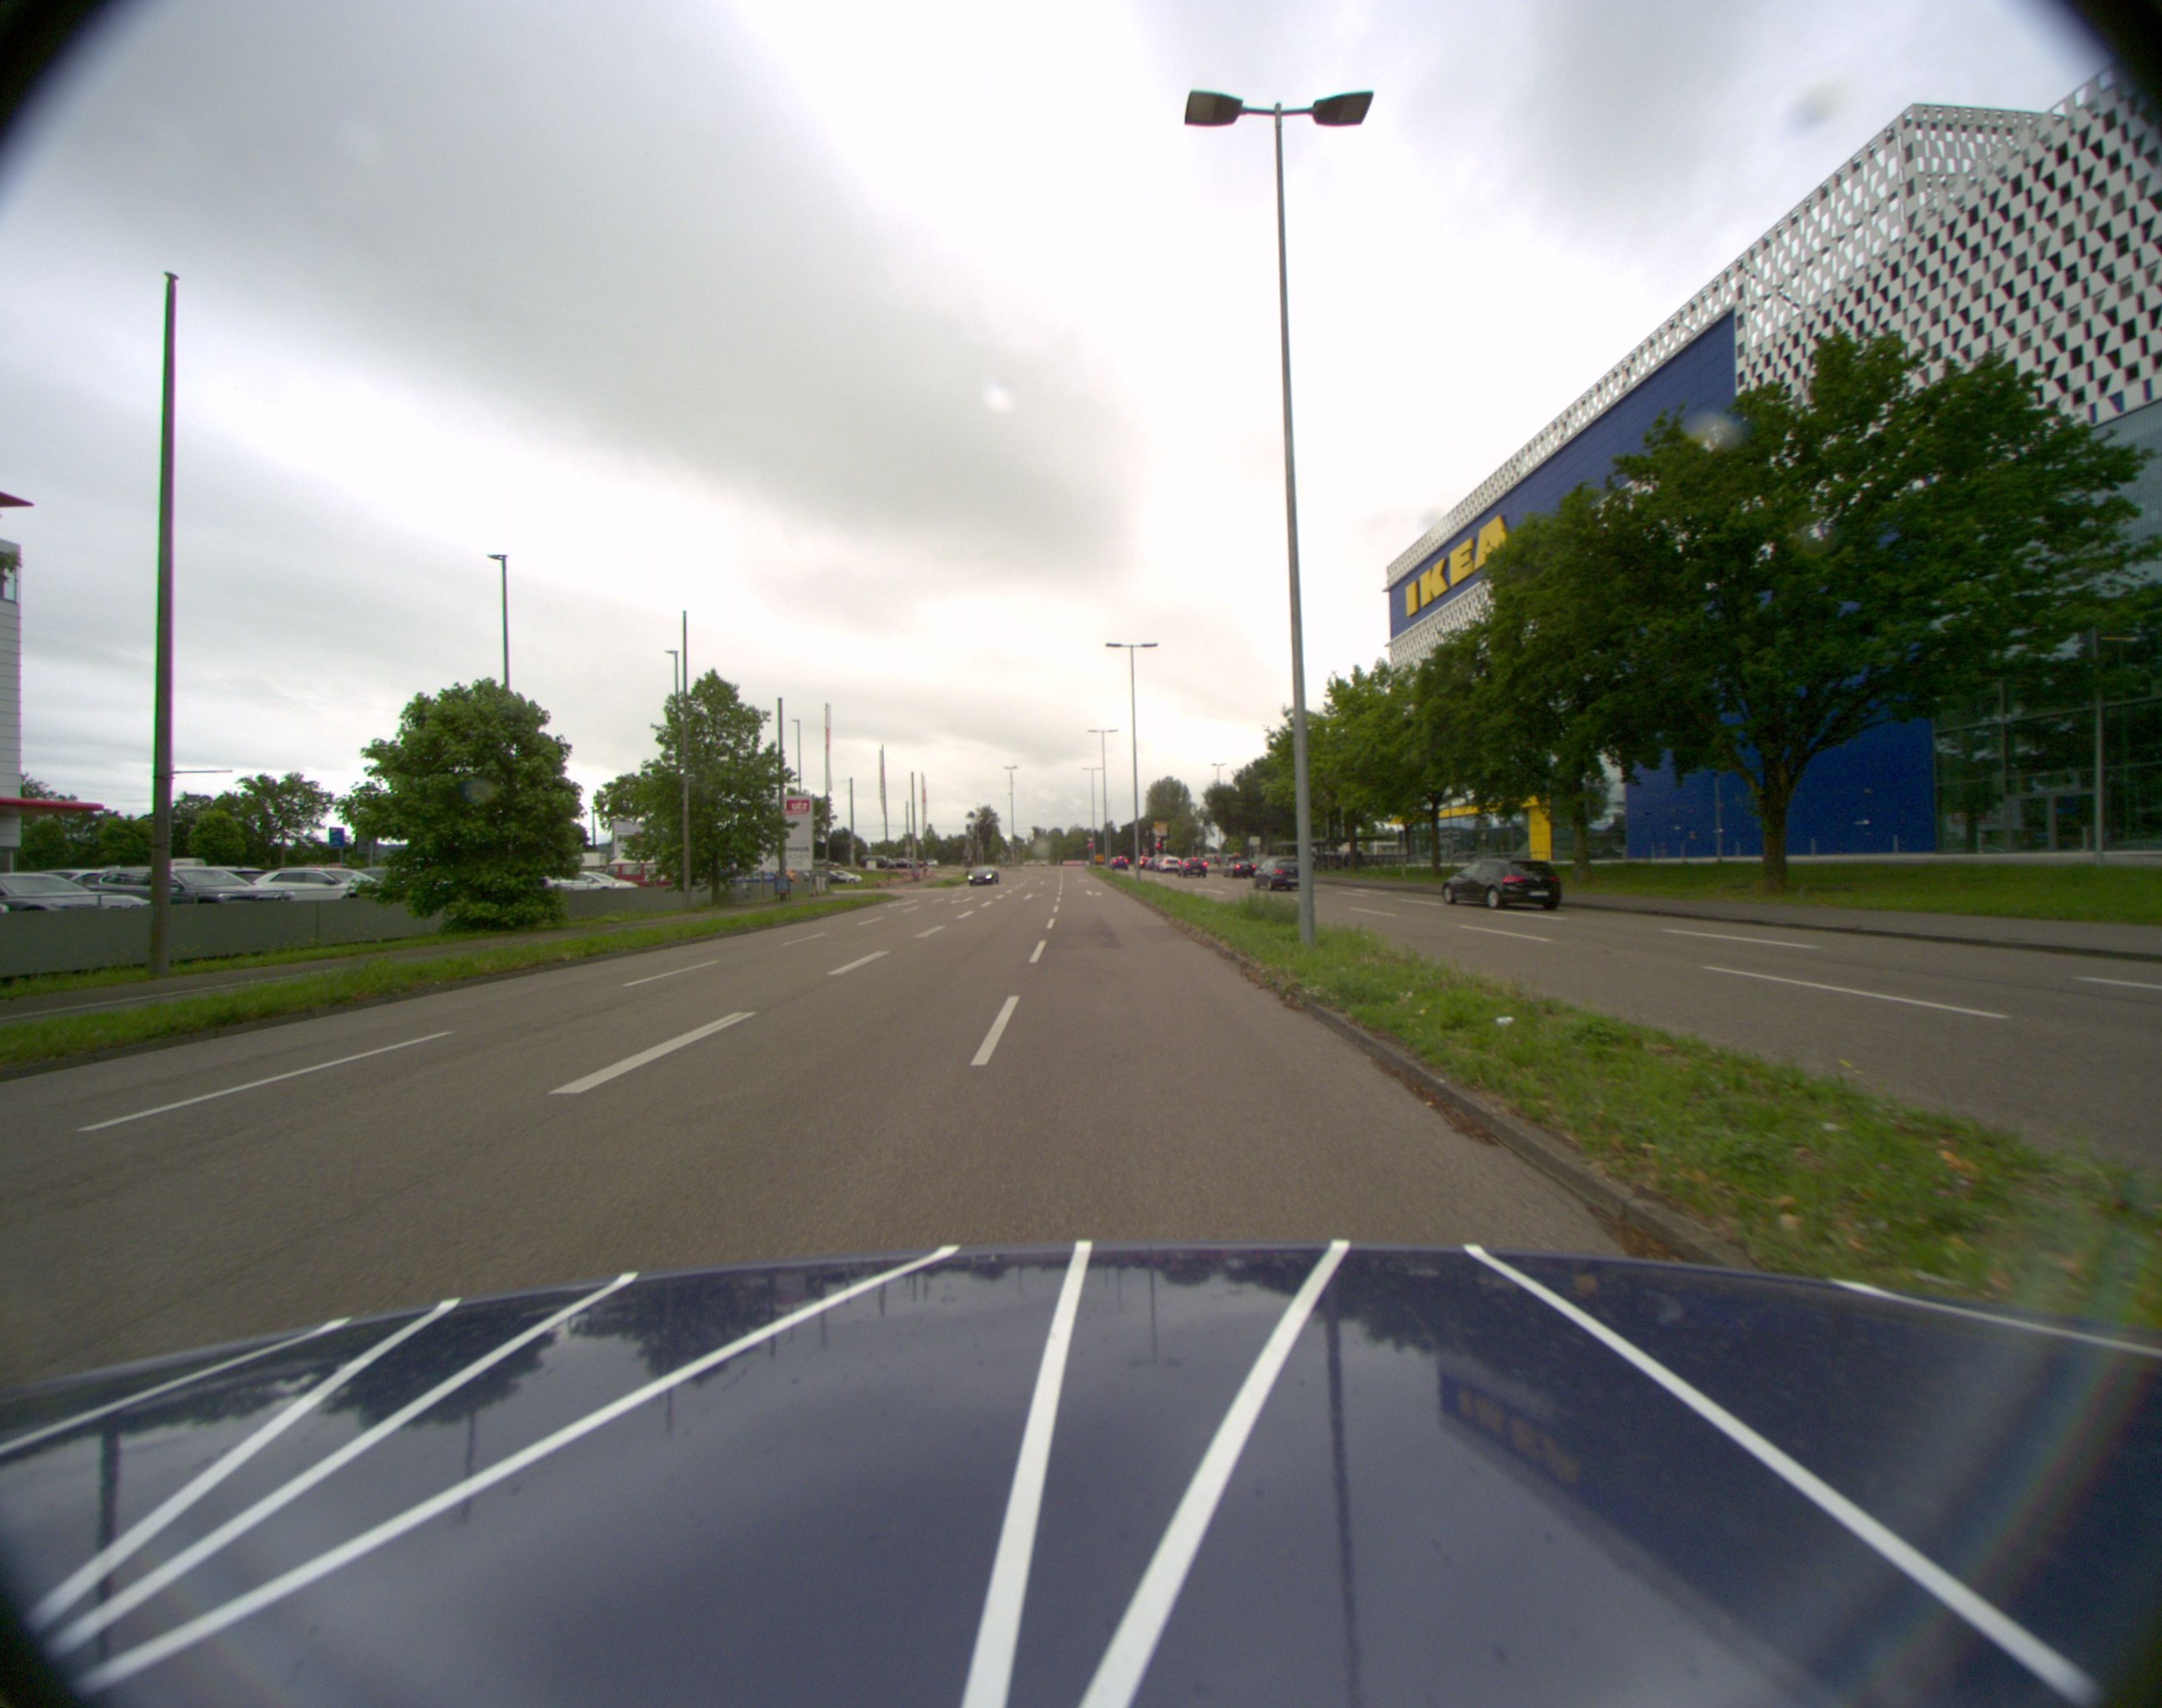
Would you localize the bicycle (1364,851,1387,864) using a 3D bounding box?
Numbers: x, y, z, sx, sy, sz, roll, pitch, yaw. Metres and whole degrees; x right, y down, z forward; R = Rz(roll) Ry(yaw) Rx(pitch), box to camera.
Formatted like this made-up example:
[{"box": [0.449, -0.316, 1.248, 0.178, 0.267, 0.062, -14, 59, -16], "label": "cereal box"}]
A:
[{"box": [27.971, 0.303, 72.154, 2.023, 1.150, 0.593, -3, 0, -14], "label": "bicycle"}]

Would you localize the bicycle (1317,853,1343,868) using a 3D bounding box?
[{"box": [22.031, 0.583, 67.169, 2.021, 1.150, 0.593, -3, 0, -1], "label": "bicycle"}]

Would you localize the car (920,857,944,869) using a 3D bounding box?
[{"box": [-26.443, 1.619, 134.892, 4.002, 2.002, 1.945, -2, 0, -16], "label": "car"}]

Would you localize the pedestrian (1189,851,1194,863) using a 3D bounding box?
[{"box": [16.653, 0.464, 114.591, 0.664, 1.756, 0.686, 2, 4, -4], "label": "pedestrian"}]

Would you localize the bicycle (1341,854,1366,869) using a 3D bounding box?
[{"box": [22.040, 0.597, 61.489, 1.814, 1.076, 0.593, -3, 0, -1], "label": "bicycle"}]

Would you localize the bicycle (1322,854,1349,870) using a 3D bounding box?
[{"box": [20.505, 0.667, 61.225, 2.019, 1.150, 0.594, -3, 0, 14], "label": "bicycle"}]

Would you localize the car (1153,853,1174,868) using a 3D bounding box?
[{"box": [8.591, 0.667, 79.183, 1.607, 1.489, 4.036, 1, 1, -1], "label": "car"}]

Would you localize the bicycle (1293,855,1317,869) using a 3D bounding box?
[{"box": [19.914, 0.693, 67.613, 1.899, 1.150, 0.593, -3, 0, -1], "label": "bicycle"}]

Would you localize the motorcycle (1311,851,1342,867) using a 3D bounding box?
[{"box": [22.135, 0.452, 68.484, 2.501, 1.347, 0.799, -3, 0, -13], "label": "motorcycle"}]

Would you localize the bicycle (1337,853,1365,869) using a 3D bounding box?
[{"box": [22.311, 0.567, 62.834, 2.021, 1.150, 0.593, -3, 0, -1], "label": "bicycle"}]

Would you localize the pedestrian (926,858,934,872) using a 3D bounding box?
[{"box": [-17.372, 1.243, 87.449, 0.717, 1.588, 0.782, -2, 3, -16], "label": "pedestrian"}]

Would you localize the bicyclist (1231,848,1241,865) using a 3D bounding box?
[{"box": [15.121, 0.264, 74.224, 0.642, 1.568, 1.000, -3, 0, -1], "label": "bicyclist"}]

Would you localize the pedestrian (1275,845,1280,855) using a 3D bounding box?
[{"box": [33.697, -0.705, 130.263, 0.586, 1.731, 0.788, -2, -2, 1], "label": "pedestrian"}]

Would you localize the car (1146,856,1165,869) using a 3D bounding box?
[{"box": [8.377, 0.909, 85.342, 1.607, 1.436, 4.143, 1, 0, -1], "label": "car"}]

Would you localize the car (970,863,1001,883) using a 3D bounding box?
[{"box": [-7.514, 1.483, 60.140, 1.999, 1.383, 4.342, -2, 0, -2], "label": "car"}]

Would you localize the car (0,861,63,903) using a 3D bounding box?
[{"box": [-49.756, 1.318, 34.548, 3.999, 1.812, 1.888, -2, 1, -5], "label": "car"}]

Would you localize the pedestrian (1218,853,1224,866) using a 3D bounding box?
[{"box": [18.862, 0.758, 102.172, 0.635, 1.633, 0.809, -2, 2, -3], "label": "pedestrian"}]

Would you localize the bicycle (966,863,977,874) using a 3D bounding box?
[{"box": [-10.992, 1.490, 76.562, 0.664, 1.042, 1.692, -2, 1, 6], "label": "bicycle"}]

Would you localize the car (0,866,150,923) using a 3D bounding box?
[{"box": [-39.523, 1.548, 29.607, 3.997, 2.002, 1.977, -2, 1, 1], "label": "car"}]

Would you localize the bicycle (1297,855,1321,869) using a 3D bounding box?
[{"box": [19.964, 0.705, 66.533, 1.899, 1.150, 0.593, -3, 0, -1], "label": "bicycle"}]

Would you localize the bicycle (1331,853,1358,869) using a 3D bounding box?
[{"box": [22.276, 0.592, 64.135, 2.021, 1.150, 0.593, -3, 0, -1], "label": "bicycle"}]

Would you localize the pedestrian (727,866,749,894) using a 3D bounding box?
[{"box": [-21.208, 1.594, 46.950, 0.942, 1.709, 0.886, -2, -2, -2], "label": "pedestrian"}]

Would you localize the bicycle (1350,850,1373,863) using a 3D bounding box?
[{"box": [28.016, 0.278, 75.985, 2.021, 1.150, 0.593, -3, 0, -2], "label": "bicycle"}]

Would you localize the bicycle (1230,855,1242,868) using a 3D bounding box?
[{"box": [15.164, 0.730, 74.244, 0.644, 1.243, 2.056, -3, 0, -1], "label": "bicycle"}]

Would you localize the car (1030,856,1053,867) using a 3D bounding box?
[{"box": [-7.208, 1.352, 138.402, 4.082, 1.723, 1.776, -1, -2, -7], "label": "car"}]

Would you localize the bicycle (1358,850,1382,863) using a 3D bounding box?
[{"box": [28.003, 0.252, 73.650, 2.021, 1.150, 0.593, -3, 0, -2], "label": "bicycle"}]

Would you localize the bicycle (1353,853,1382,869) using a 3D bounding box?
[{"box": [22.354, 0.539, 59.307, 2.020, 1.116, 0.594, -3, 0, 1], "label": "bicycle"}]

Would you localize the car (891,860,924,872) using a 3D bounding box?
[{"box": [-24.527, 1.706, 107.545, 4.200, 1.455, 1.839, -2, 0, 12], "label": "car"}]

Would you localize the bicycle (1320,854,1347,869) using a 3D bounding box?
[{"box": [21.691, 0.641, 65.232, 2.021, 1.150, 0.593, -3, 0, -1], "label": "bicycle"}]

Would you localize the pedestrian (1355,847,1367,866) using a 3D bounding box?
[{"box": [25.670, 0.254, 69.628, 0.679, 1.735, 0.808, -2, 0, -1], "label": "pedestrian"}]

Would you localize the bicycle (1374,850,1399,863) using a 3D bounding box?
[{"box": [28.130, 0.227, 70.009, 2.022, 1.150, 0.593, -3, 0, -7], "label": "bicycle"}]
